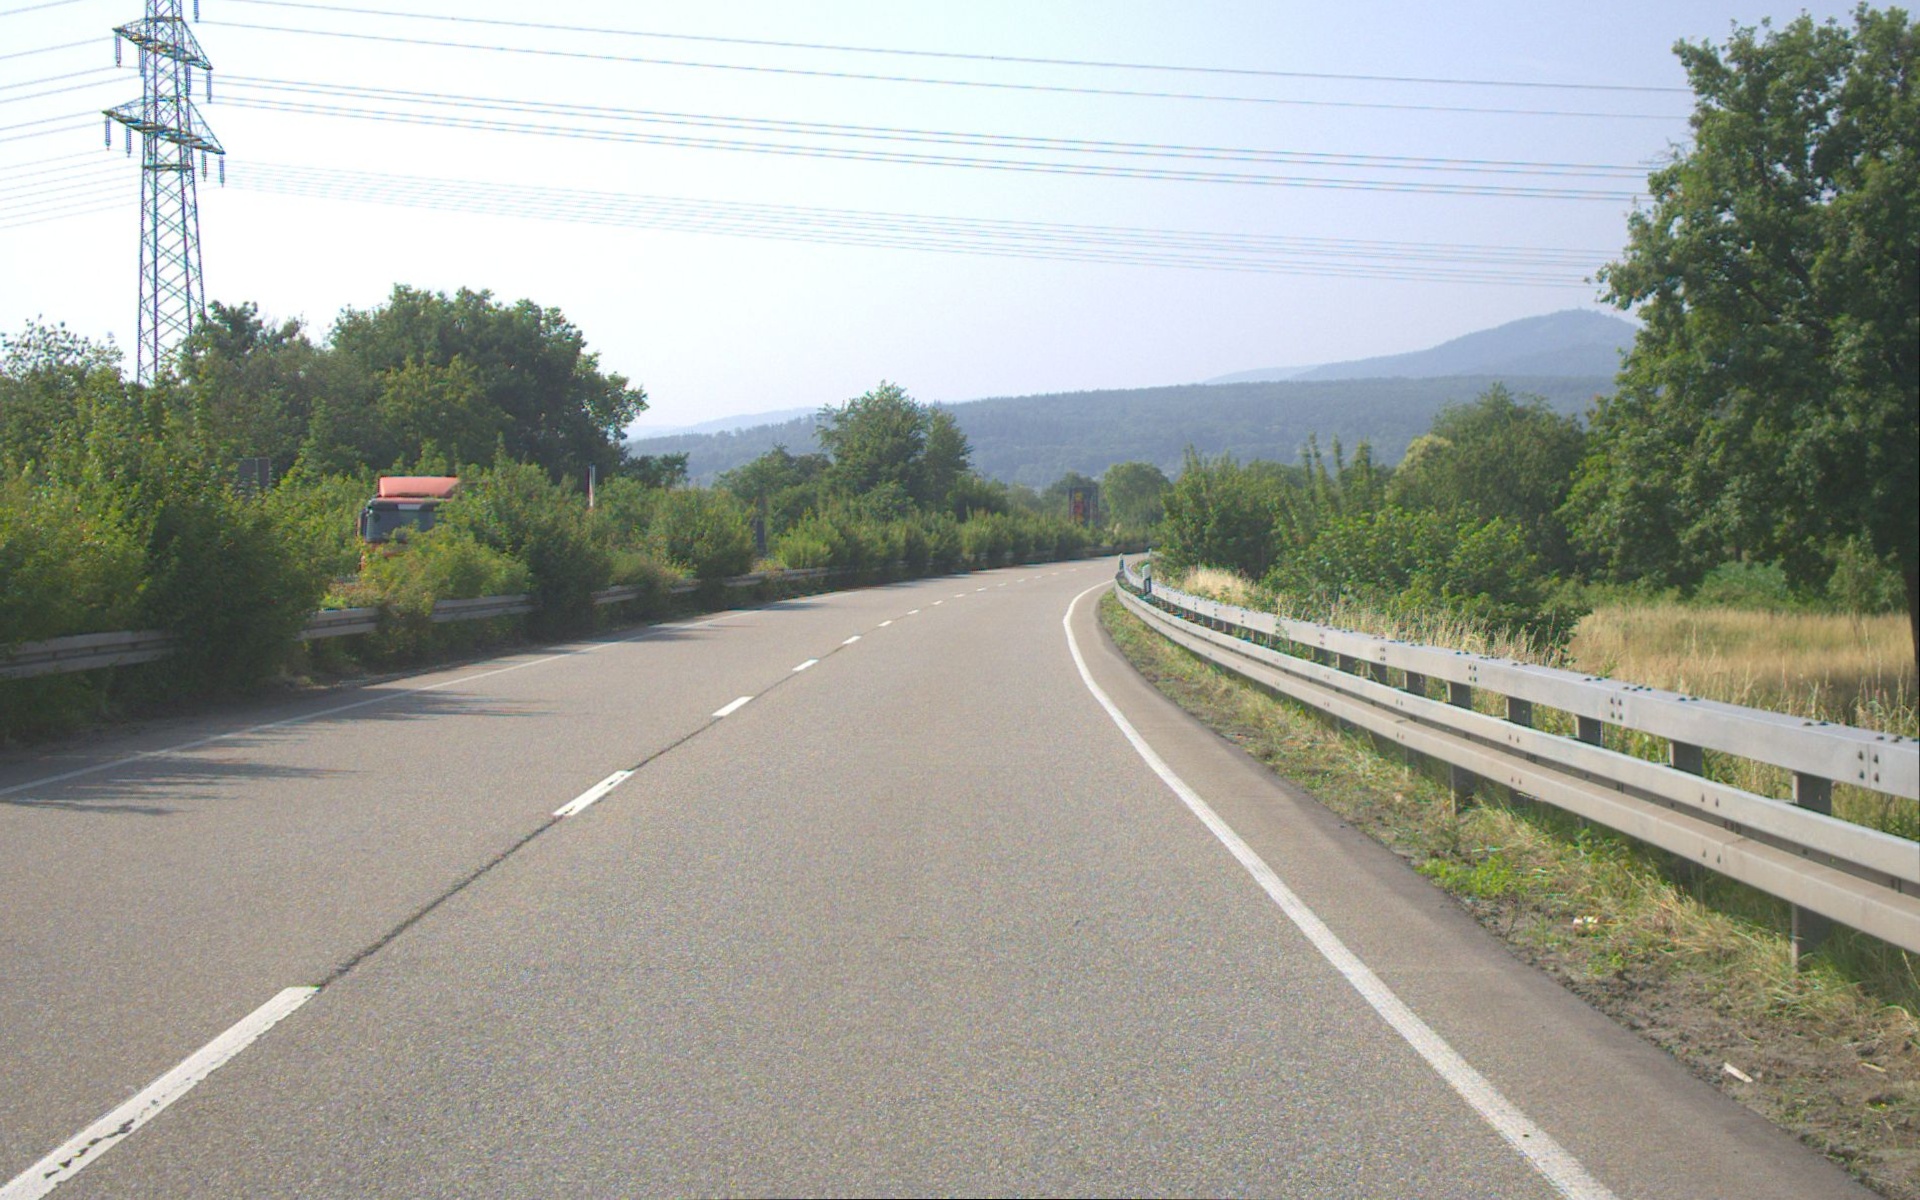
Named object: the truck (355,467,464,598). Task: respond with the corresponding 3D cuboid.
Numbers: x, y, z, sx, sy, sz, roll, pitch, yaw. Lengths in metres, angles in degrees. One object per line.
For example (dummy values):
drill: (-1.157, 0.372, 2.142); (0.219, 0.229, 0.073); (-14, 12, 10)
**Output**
truck: (-14.607, -1.788, 91.505); (1.993, 3.364, 5.629); (0, 1, 0)
